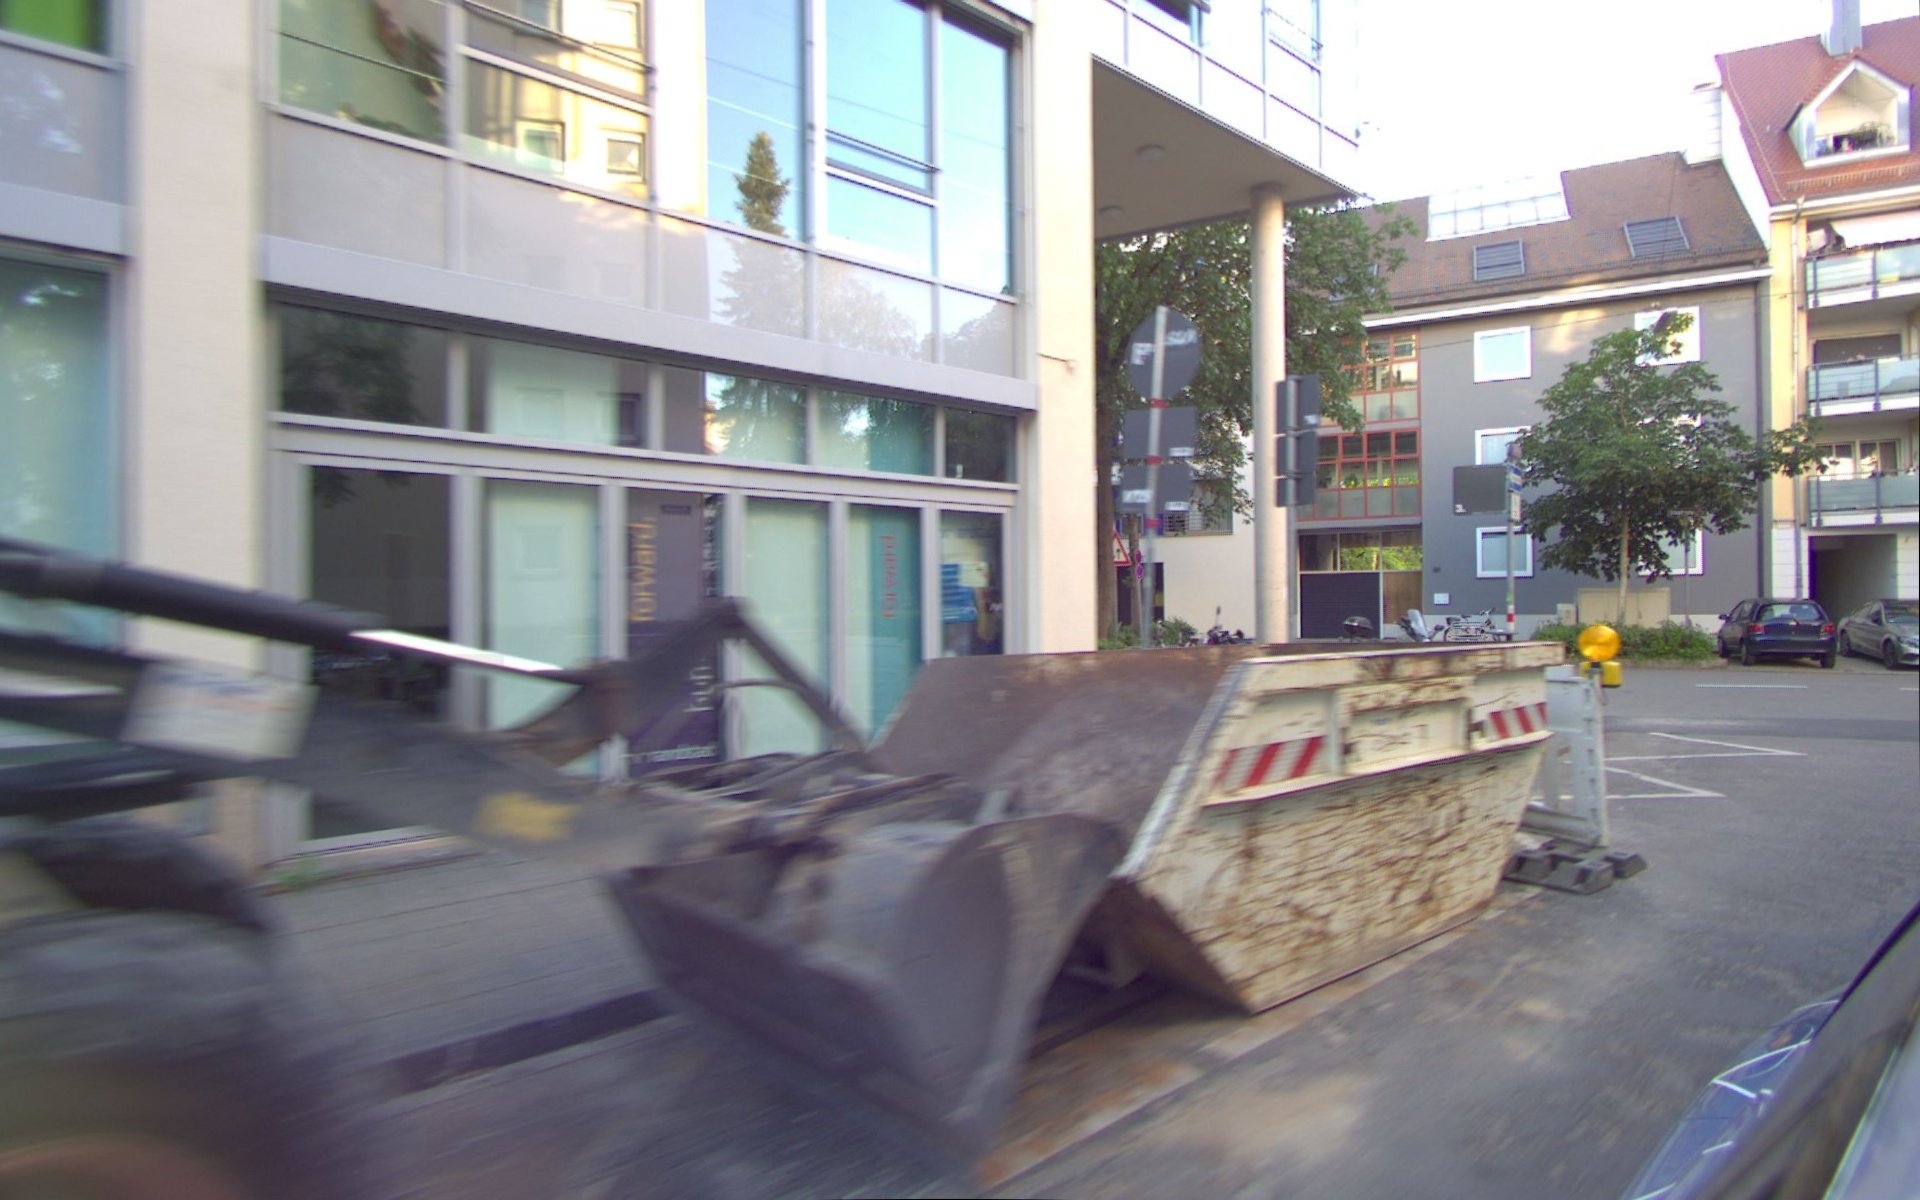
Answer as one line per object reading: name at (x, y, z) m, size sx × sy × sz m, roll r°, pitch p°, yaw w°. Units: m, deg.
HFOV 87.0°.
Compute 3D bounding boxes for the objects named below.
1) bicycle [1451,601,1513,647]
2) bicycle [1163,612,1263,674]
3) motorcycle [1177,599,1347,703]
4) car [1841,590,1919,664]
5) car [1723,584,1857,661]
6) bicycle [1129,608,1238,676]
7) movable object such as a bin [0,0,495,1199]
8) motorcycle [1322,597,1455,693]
bicycle at (14.371, 0.645, 27.849) m, size 1.486 × 1.186 × 0.721 m, roll -1°, pitch 4°, yaw 29°
bicycle at (4.889, 0.807, 19.586) m, size 1.783 × 1.132 × 0.597 m, roll 0°, pitch 0°, yaw 28°
motorcycle at (4.002, 0.639, 13.481) m, size 2.105 × 1.290 × 0.610 m, roll 1°, pitch 0°, yaw 27°
car at (21.398, 0.542, 22.337) m, size 1.853 × 1.527 × 4.254 m, roll -1°, pitch 0°, yaw 26°
car at (19.060, 0.467, 23.395) m, size 1.730 × 1.544 × 3.330 m, roll -1°, pitch 2°, yaw 28°
bicycle at (3.926, 0.718, 17.793) m, size 1.783 × 1.132 × 0.597 m, roll 0°, pitch 0°, yaw 28°
movable object such as a bin at (-2.873, 0.127, 1.065) m, size 4.036 × 2.668 × 1.800 m, roll -1°, pitch 0°, yaw -38°
motorcycle at (6.998, 0.691, 16.698) m, size 0.785 × 1.459 × 2.384 m, roll 0°, pitch 0°, yaw -12°
